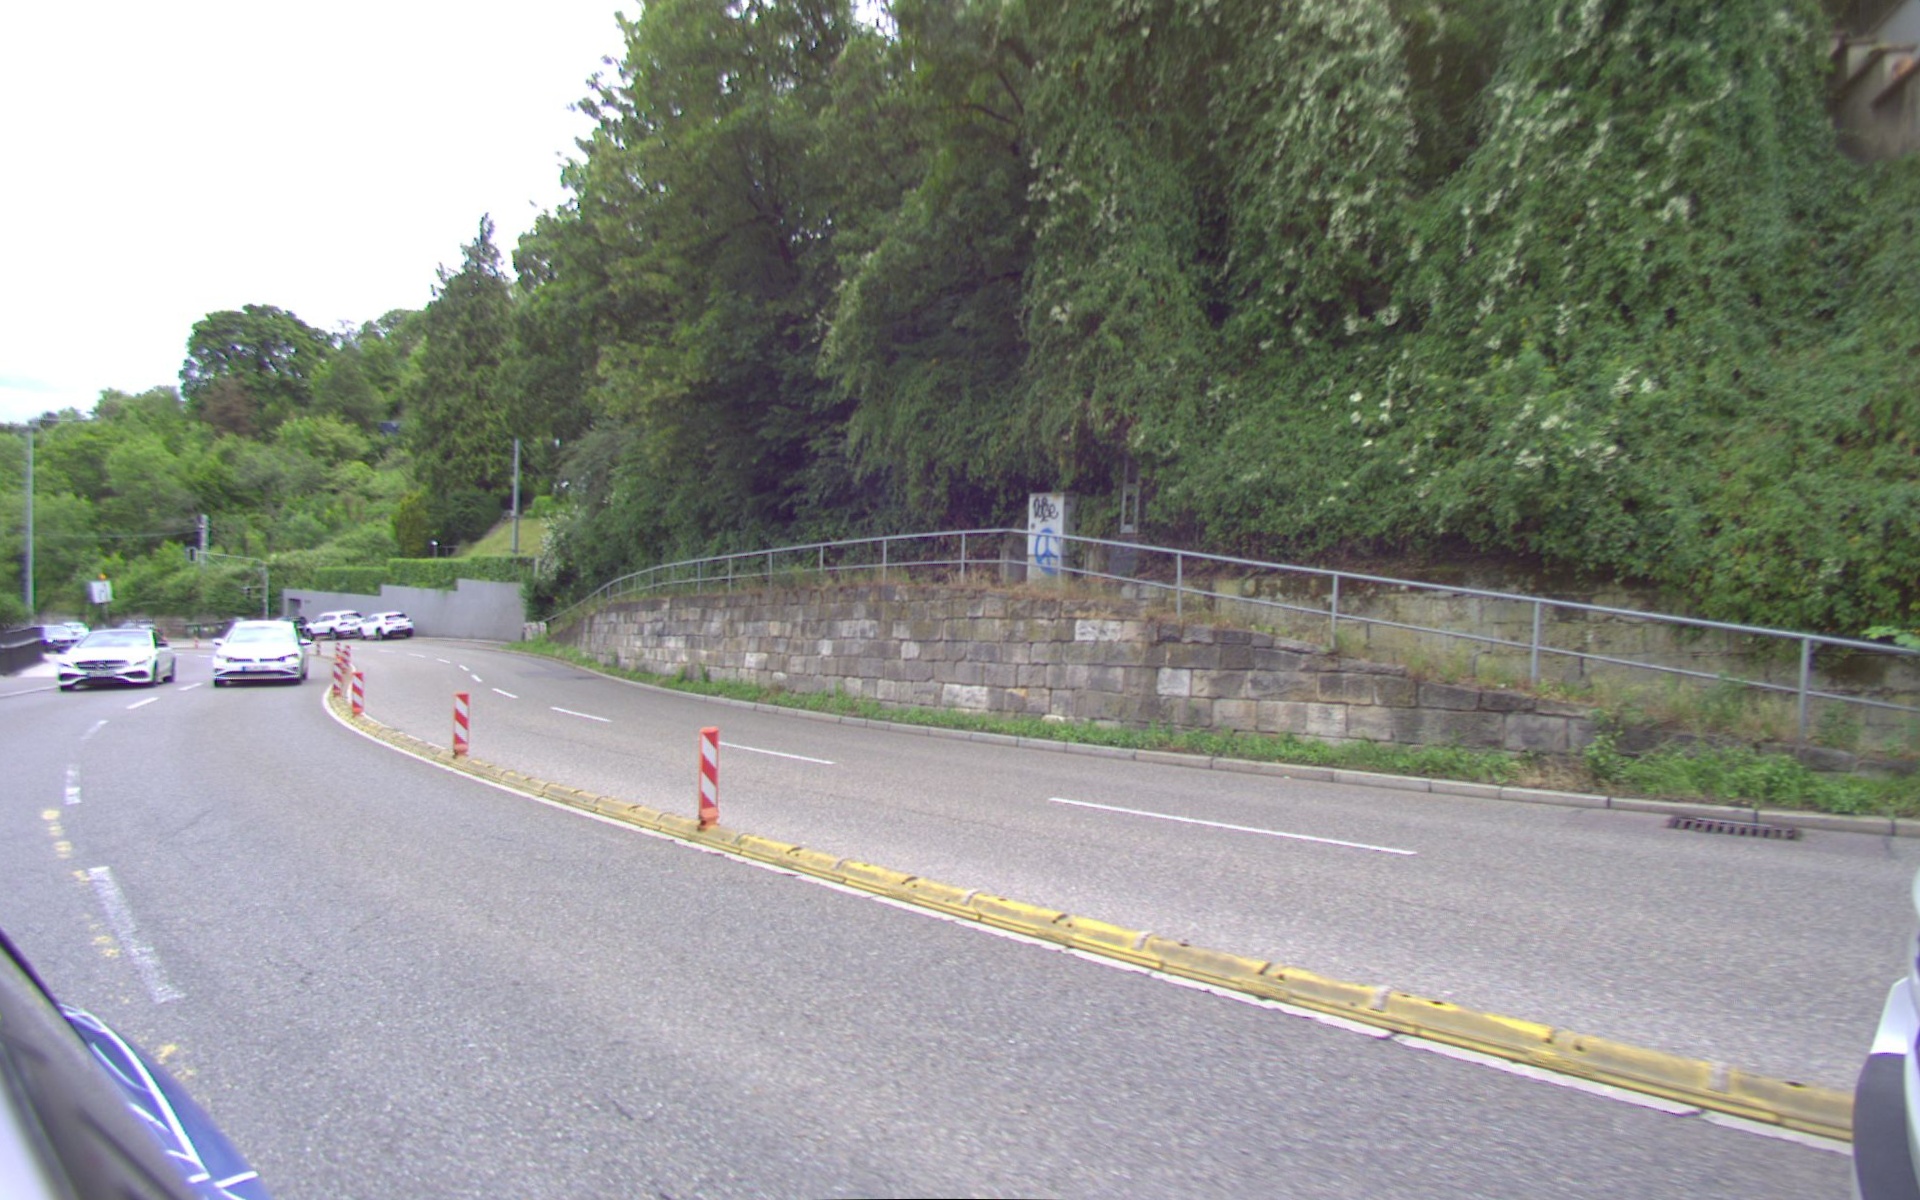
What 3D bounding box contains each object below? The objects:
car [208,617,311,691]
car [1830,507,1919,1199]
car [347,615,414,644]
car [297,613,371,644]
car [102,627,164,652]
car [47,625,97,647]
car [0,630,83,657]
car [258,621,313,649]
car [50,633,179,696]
[{"bbox_3d":[-17.430,1.275,25.335,1.855,1.590,4.012,0,0,-31],"label":"car"},{"bbox_3d":[3.377,0.590,0.132,4.874,1.477,1.830,-1,2,40],"label":"car"},{"bbox_3d":[-34.216,1.698,59.742,4.467,1.584,1.816,-1,2,37],"label":"car"},{"bbox_3d":[-38.919,1.778,62.903,4.742,1.744,1.846,-1,2,30],"label":"car"},{"bbox_3d":[-57.427,2.723,70.276,4.182,1.609,1.702,-1,1,25],"label":"car"},{"bbox_3d":[-66.068,2.665,75.277,3.647,1.477,1.699,-2,1,31],"label":"car"},{"bbox_3d":[-52.018,2.447,57.278,4.067,1.316,1.788,-3,-1,18],"label":"car"},{"bbox_3d":[-43.534,2.272,65.337,2.944,1.584,1.701,-2,3,29],"label":"car"},{"bbox_3d":[-20.528,1.510,24.734,1.768,1.316,4.112,-2,-1,-31],"label":"car"}]
